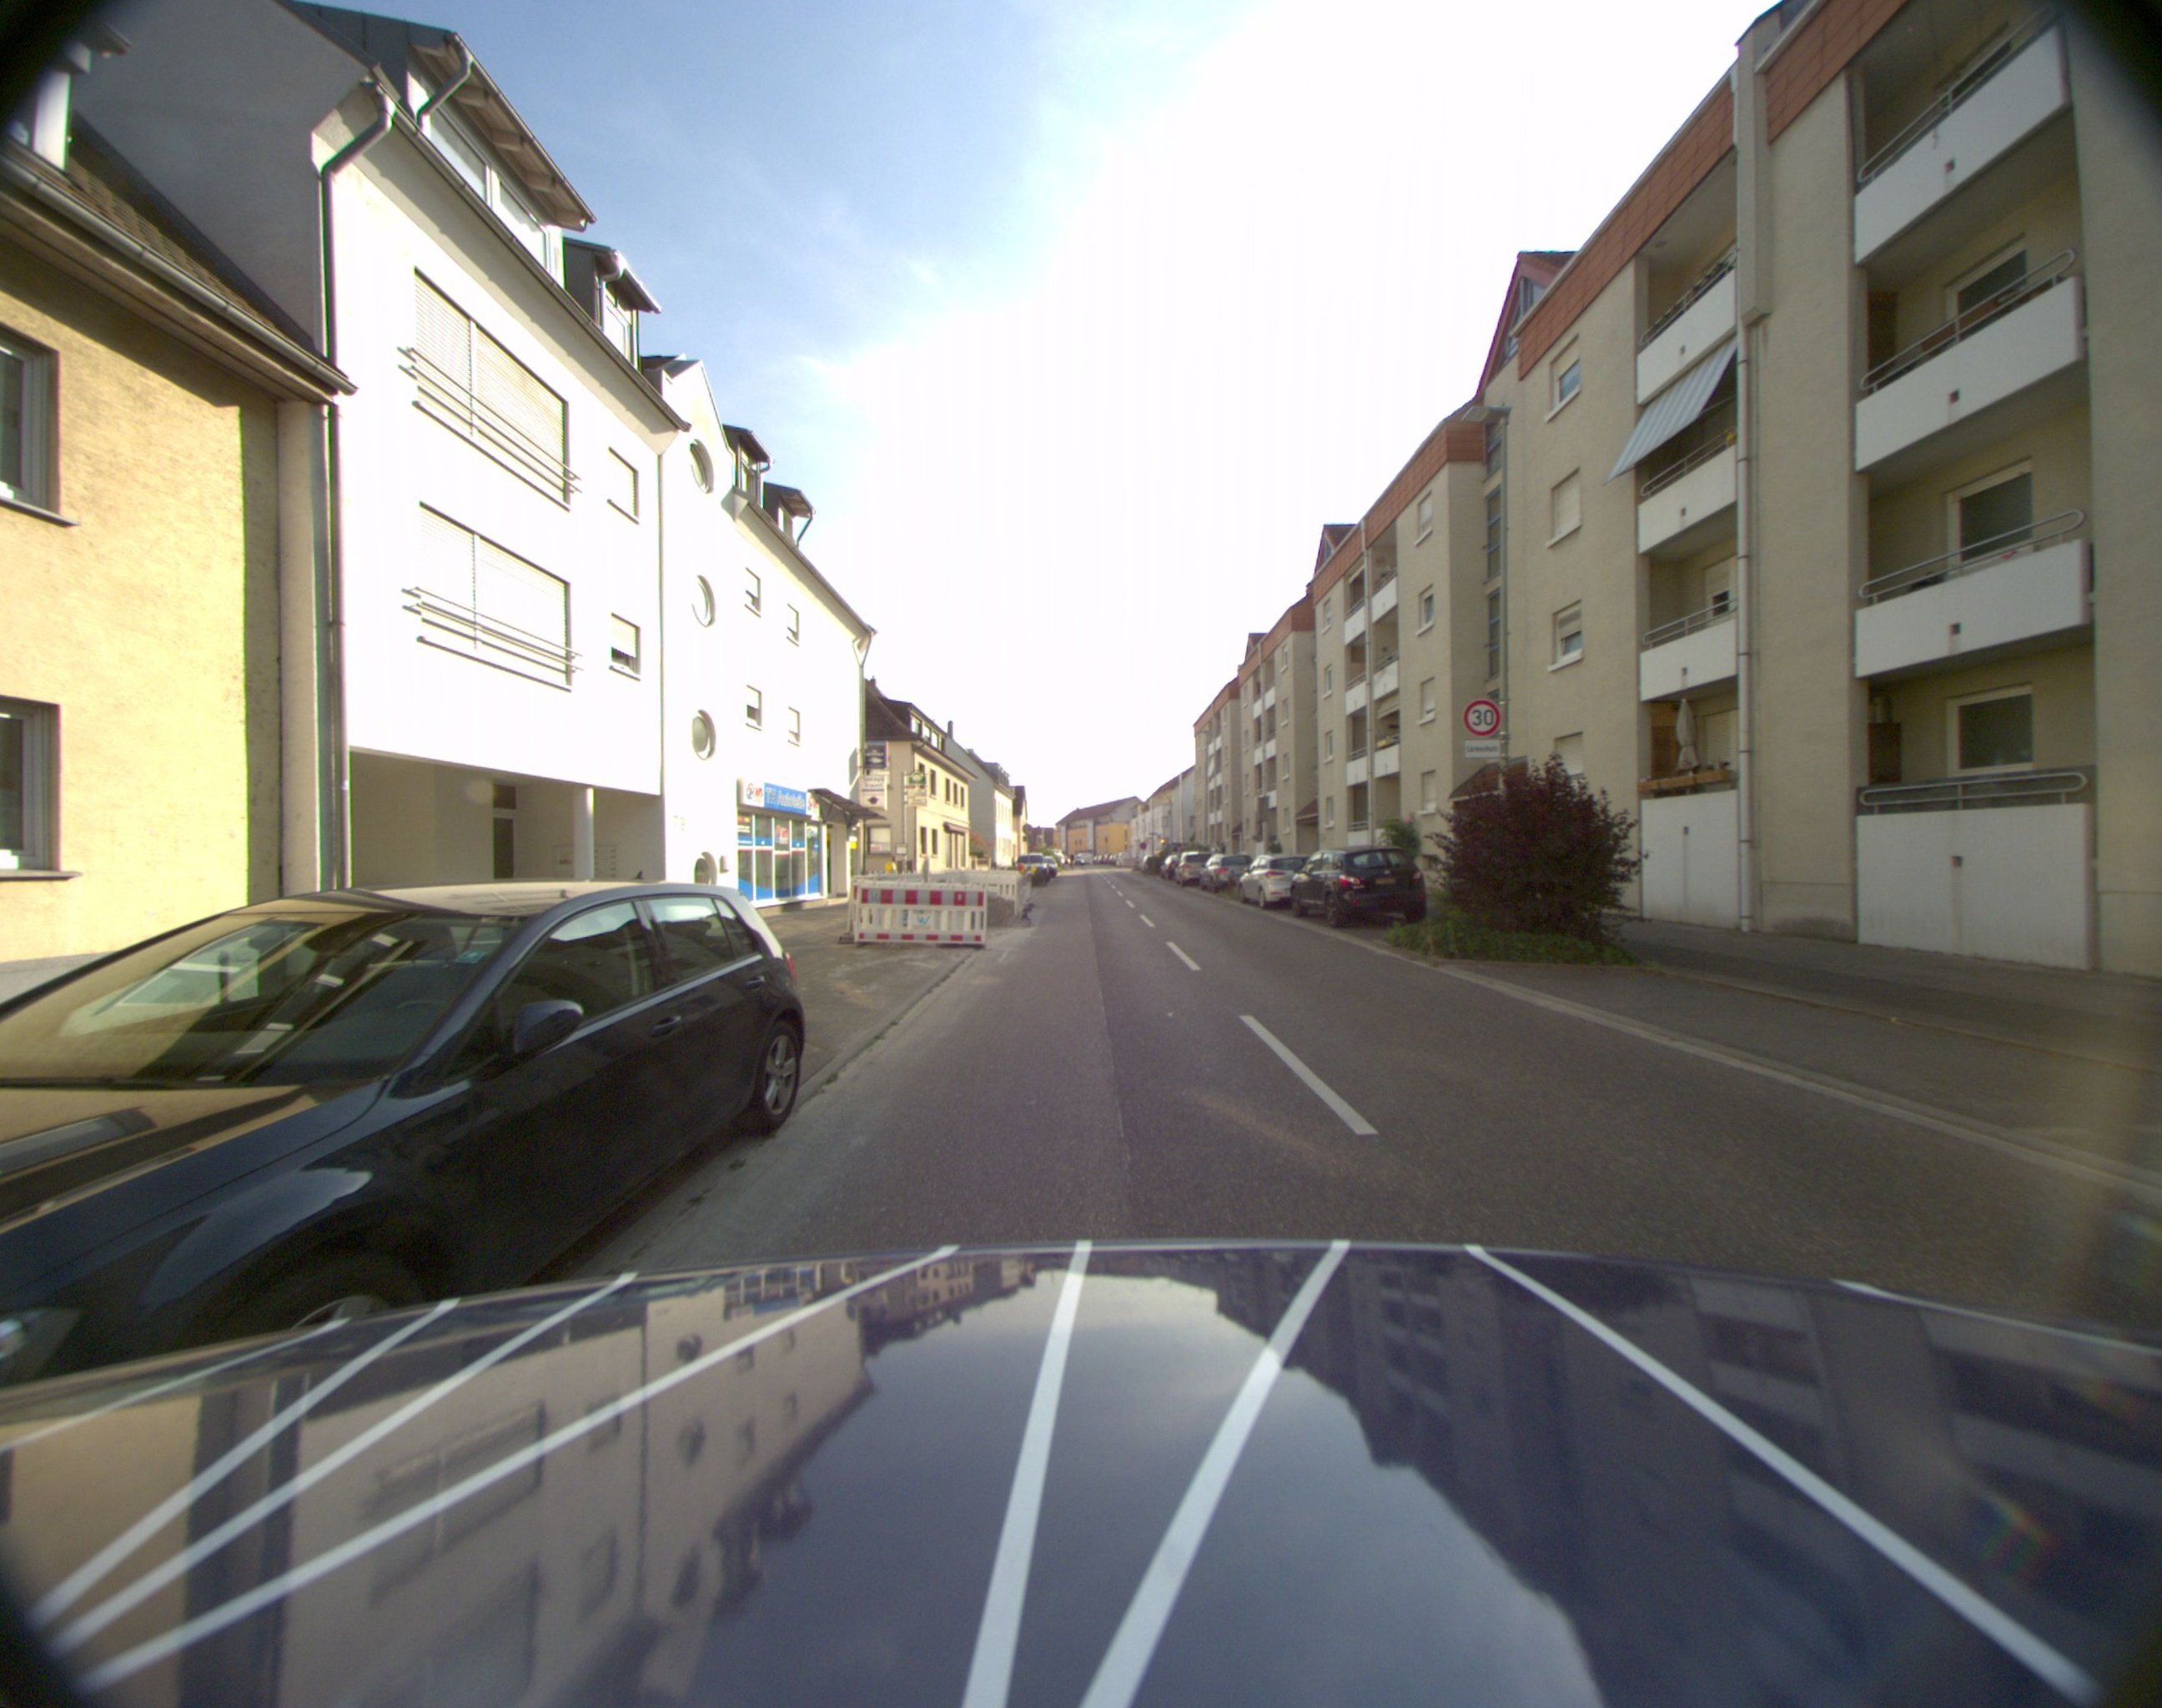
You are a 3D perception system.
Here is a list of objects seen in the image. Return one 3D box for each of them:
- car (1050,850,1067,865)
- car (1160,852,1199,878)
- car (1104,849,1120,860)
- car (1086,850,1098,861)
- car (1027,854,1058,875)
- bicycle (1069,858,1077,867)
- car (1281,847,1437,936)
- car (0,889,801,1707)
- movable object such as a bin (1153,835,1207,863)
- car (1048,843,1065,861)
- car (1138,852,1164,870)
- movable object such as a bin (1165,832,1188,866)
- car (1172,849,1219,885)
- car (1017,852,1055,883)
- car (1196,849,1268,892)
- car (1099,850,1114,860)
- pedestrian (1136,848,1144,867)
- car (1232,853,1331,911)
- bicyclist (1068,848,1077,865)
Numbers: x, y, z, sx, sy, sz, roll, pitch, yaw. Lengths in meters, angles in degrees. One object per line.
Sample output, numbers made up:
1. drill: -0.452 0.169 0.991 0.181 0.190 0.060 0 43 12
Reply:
1. car: -2.466 0.377 84.273 1.817 1.674 4.476 0 0 0
2. car: 5.733 0.594 44.657 1.690 1.397 4.083 -2 0 -1
3. car: 4.729 0.062 116.869 1.733 1.612 4.260 -1 0 -7
4. car: 1.818 0.206 126.020 1.927 1.756 4.337 -1 0 -1
5. car: -2.646 0.692 53.028 1.834 1.412 4.608 0 0 0
6. bicycle: -0.807 0.828 74.856 0.680 0.849 2.026 -1 0 -4
7. car: 5.719 0.681 16.252 1.690 1.594 4.369 -2 0 0
8. car: -2.638 0.959 2.578 1.834 1.473 3.943 0 0 1
9. movable object such as a bin: 10.960 -0.520 84.140 5.516 2.883 2.110 -2 0 -12
10. car: -3.394 -0.236 104.027 2.180 2.314 4.996 0 0 -2
11. car: 5.749 0.524 62.646 1.645 1.387 3.670 -2 0 -1
12. movable object such as a bin: 9.249 -0.457 73.592 1.652 3.120 3.899 -1 0 -1
13. car: 5.412 0.569 36.294 1.731 1.546 3.965 -2 0 2
14. car: -2.456 0.695 42.401 1.834 1.620 4.462 -1 0 0
15. car: 5.851 0.594 29.996 1.812 1.512 4.369 -2 0 -2
16. car: 4.059 0.148 121.950 1.732 1.469 4.500 -2 0 -7
17. pedestrian: 5.648 0.316 72.906 0.720 1.808 0.745 -2 0 0
18. car: 5.587 0.710 21.659 1.690 1.446 4.140 -2 0 0
19. bicyclist: -0.821 0.209 74.859 0.845 1.680 0.877 -1 1 -5
